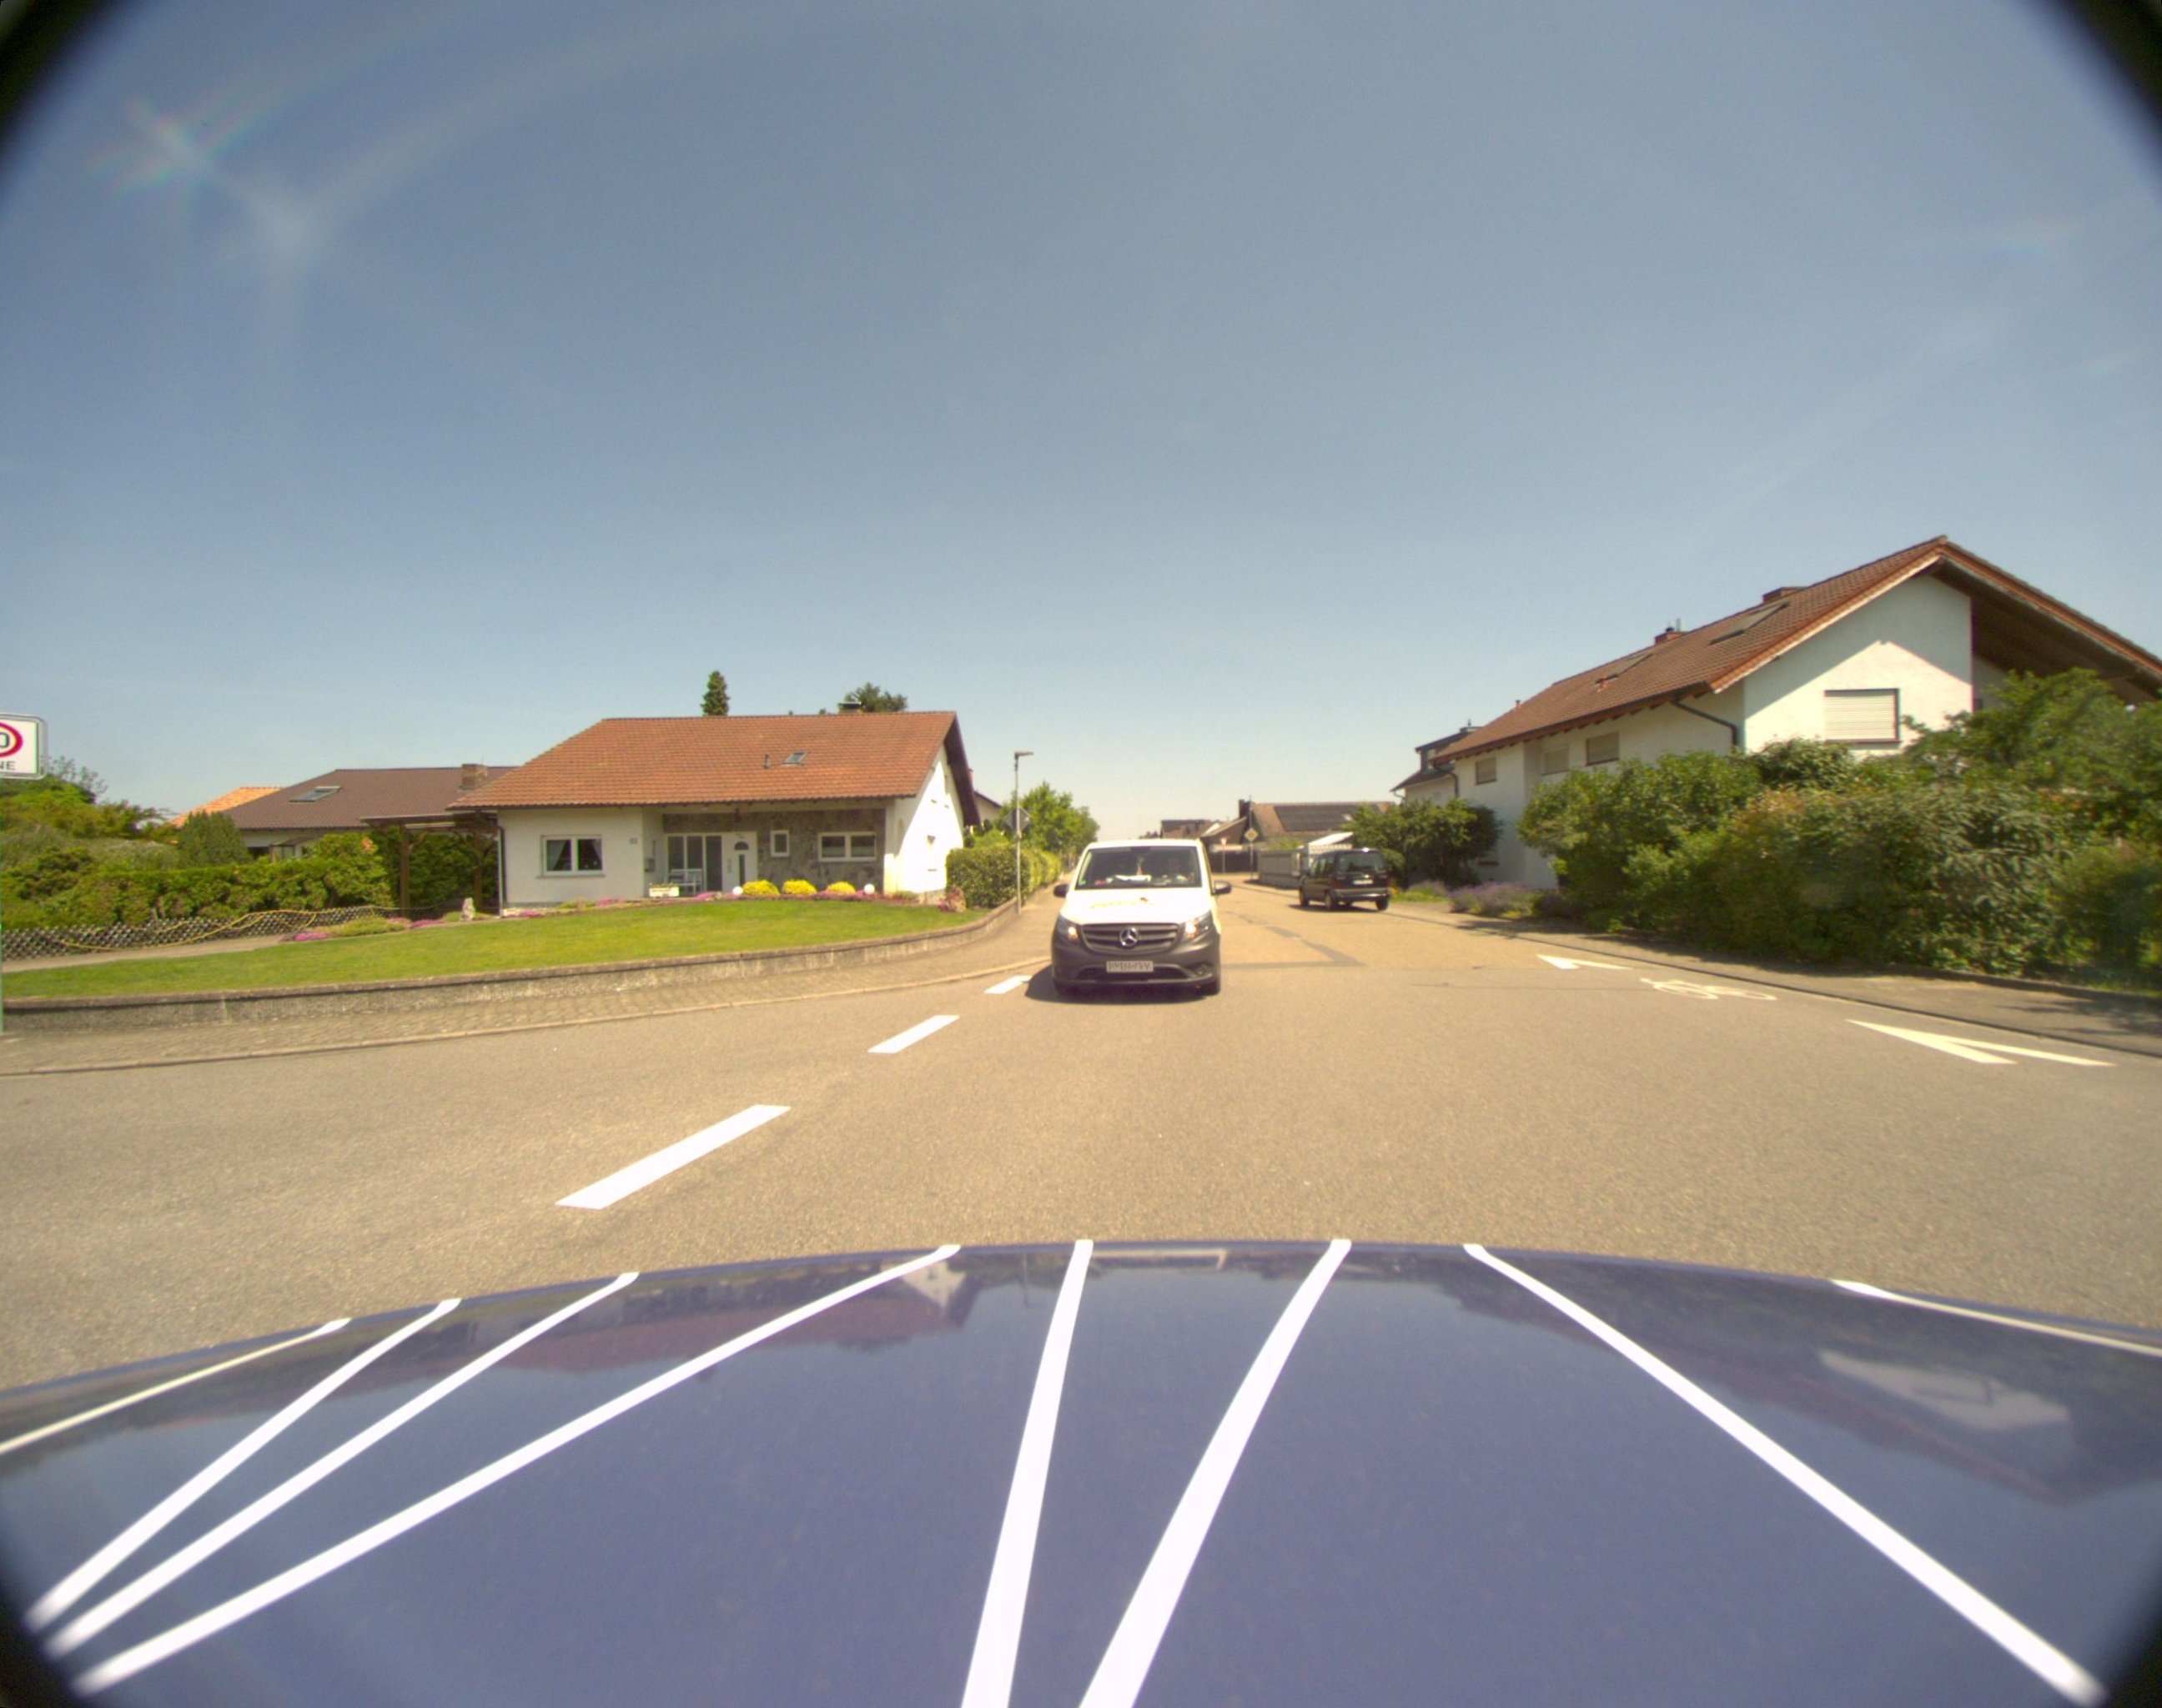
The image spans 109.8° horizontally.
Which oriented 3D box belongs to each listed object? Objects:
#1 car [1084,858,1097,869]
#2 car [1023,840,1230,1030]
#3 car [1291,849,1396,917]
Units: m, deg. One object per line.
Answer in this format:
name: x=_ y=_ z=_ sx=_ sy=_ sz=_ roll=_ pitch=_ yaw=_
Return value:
car: x=1.512 y=1.470 z=120.253 sx=1.998 sy=1.587 sz=4.000 roll=-1 pitch=0 yaw=3
car: x=0.793 y=0.783 z=10.013 sx=2.017 sy=1.845 sz=5.071 roll=-1 pitch=0 yaw=8
car: x=7.792 y=0.788 z=22.955 sx=1.722 sy=1.835 sz=4.054 roll=-1 pitch=0 yaw=-1
